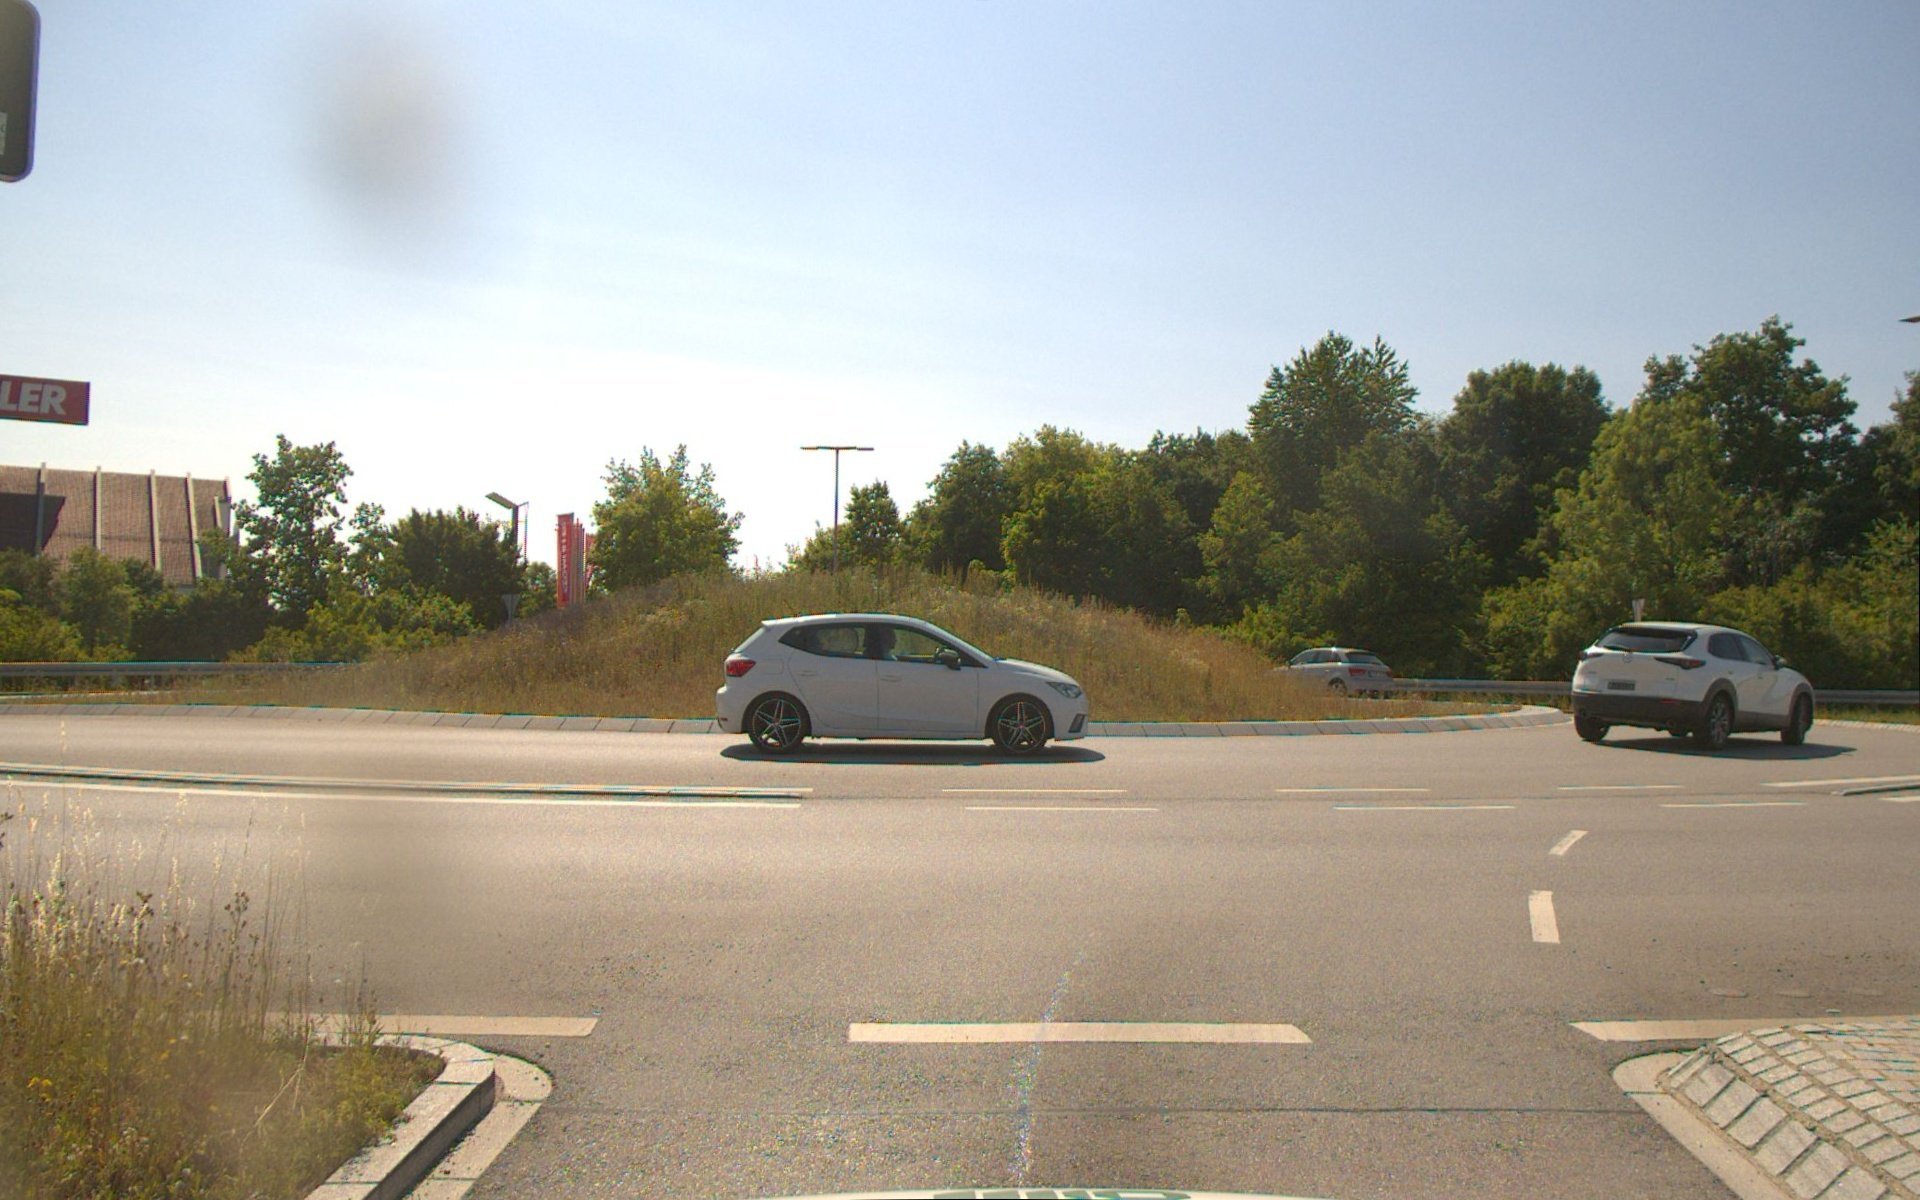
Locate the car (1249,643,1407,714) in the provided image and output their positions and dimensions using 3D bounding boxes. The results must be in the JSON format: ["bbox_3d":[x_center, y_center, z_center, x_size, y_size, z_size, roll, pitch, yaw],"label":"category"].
[{"bbox_3d":[9.408,1.982,42.570,1.757,1.624,3.960,2,-1,-30],"label":"car"}]

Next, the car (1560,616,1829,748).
[{"bbox_3d":[9.691,1.036,21.675,4.254,1.557,1.763,2,-2,-44],"label":"car"}]

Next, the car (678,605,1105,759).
[{"bbox_3d":[-0.668,0.844,17.702,4.310,1.430,1.792,2,-1,2],"label":"car"}]
